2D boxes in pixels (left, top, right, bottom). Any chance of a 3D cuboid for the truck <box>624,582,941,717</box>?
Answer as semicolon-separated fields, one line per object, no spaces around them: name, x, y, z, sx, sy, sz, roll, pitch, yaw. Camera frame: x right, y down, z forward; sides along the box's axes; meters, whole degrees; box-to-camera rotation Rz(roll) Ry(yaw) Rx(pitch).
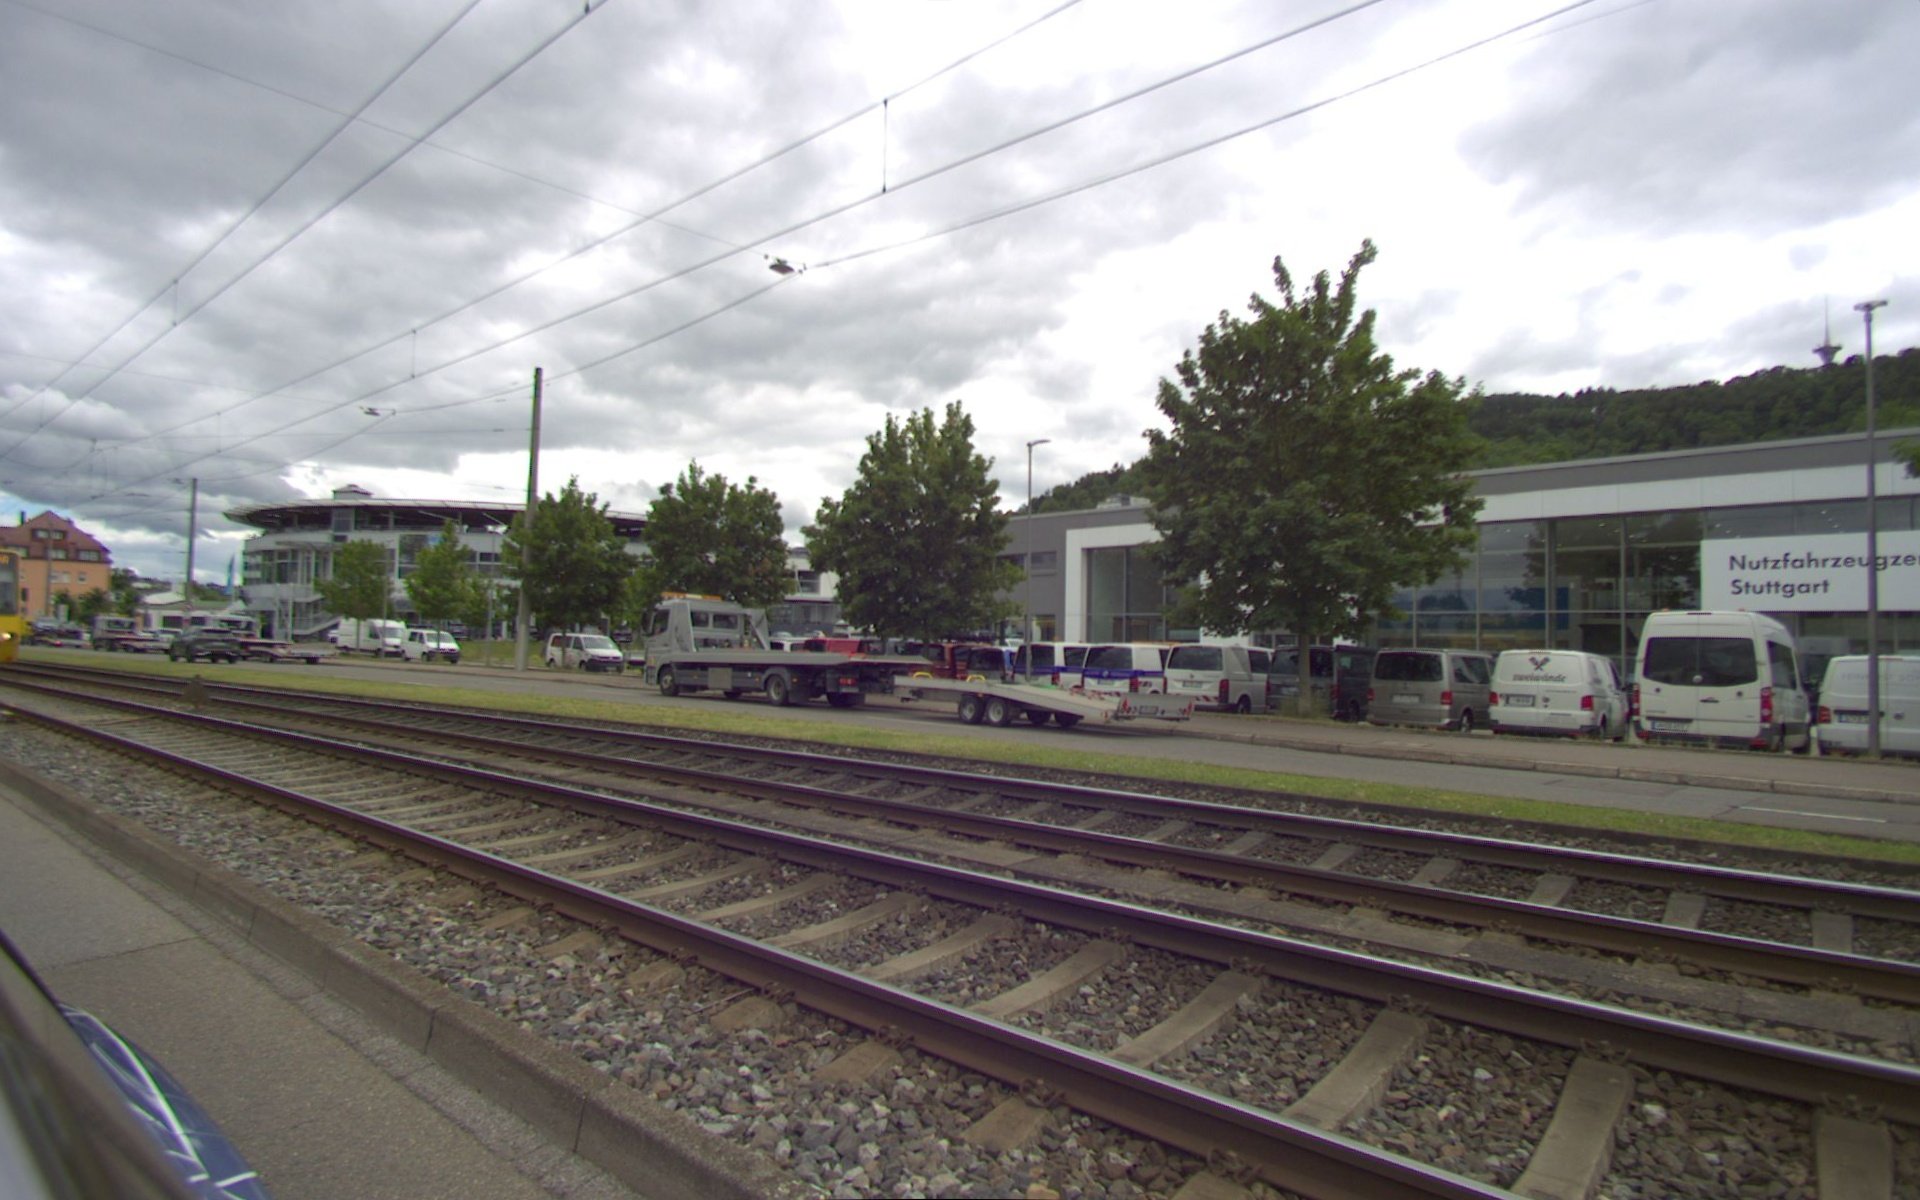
truck;-4.717;1.204;24.974;9.221;2.762;2.725;-2;-5;44

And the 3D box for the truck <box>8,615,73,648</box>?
truck;-84.055;2.936;92.450;9.058;2.881;3.019;-2;-3;40

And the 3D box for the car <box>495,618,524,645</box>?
car;-35.658;2.495;80.214;1.965;2.029;4.013;2;-3;-23

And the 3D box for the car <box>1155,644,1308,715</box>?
car;6.975;1.953;25.752;2.004;1.630;4.317;-2;-4;43

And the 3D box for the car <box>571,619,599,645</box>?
car;-31.409;2.679;84.686;1.965;2.029;4.013;2;-3;-24

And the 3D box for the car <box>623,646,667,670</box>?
car;-22.432;4.098;72.027;1.651;1.630;3.721;3;-3;-41

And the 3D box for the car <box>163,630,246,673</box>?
car;-34.676;2.356;46.424;4.531;1.752;1.973;0;-5;41

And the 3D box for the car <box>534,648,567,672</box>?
car;-29.234;4.243;72.174;1.648;1.630;3.726;2;-3;-31

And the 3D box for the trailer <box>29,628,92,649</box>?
trailer;-77.578;3.297;87.206;7.561;1.701;2.947;-2;-3;40

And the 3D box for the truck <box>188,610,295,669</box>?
truck;-40.551;2.240;57.002;8.449;3.004;2.834;-2;-6;41

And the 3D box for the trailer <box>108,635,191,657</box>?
trailer;-55.710;3.132;69.512;6.998;1.287;3.019;-1;-6;39

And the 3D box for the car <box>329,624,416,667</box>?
car;-37.096;2.838;63.832;5.837;2.580;1.980;-1;-3;29

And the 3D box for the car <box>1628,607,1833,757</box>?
car;13.780;1.387;18.015;4.442;2.329;2.127;3;-4;-43

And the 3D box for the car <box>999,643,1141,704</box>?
car;3.243;2.084;29.367;3.938;1.630;2.002;3;-3;-42

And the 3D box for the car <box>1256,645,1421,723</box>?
car;9.165;1.953;24.355;4.313;1.699;2.006;3;-3;-43

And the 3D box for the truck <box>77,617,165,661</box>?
truck;-61.899;2.896;74.567;8.950;2.944;3.077;-1;-5;39

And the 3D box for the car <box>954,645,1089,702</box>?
car;1.961;2.254;31.599;3.938;1.630;2.002;3;-3;-42

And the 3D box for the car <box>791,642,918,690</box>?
car;-3.782;2.349;36.506;4.127;1.630;2.065;3;-3;-42

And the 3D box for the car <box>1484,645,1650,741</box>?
car;12.425;1.803;20.599;2.031;1.701;4.317;-2;-4;43

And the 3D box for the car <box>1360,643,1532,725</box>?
car;10.919;1.802;22.612;4.313;1.630;2.006;3;-3;-43

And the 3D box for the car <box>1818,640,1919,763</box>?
car;16.024;1.634;16.925;4.313;1.859;2.006;3;-4;-43

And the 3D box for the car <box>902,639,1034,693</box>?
car;0.305;2.108;32.664;3.938;1.630;2.002;3;-3;-42

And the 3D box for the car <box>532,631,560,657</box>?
car;-33.564;3.540;81.946;1.965;2.029;4.013;2;-3;-24

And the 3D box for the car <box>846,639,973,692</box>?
car;-1.678;2.209;34.611;3.938;1.677;2.050;3;-3;-42

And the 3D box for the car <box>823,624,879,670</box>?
car;-6.788;2.894;62.478;1.965;2.726;4.876;2;-3;-24

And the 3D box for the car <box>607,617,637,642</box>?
car;-27.924;2.437;83.516;1.965;2.029;4.013;2;-3;-24

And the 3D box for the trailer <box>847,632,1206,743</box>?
trailer;1.003;1.550;19.311;6.950;1.711;2.355;-1;-5;44

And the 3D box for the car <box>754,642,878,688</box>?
car;-5.507;2.478;39.044;4.292;1.630;2.122;3;-3;-42

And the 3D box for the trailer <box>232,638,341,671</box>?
trailer;-34.579;2.775;51.884;7.220;1.507;2.729;-2;-6;41

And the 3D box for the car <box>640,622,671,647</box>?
car;-25.656;2.905;85.263;1.965;2.029;4.013;2;-3;-24

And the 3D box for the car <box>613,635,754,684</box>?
car;-12.160;2.627;44.568;5.615;2.023;2.151;3;-3;-26

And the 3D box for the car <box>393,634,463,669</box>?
car;-31.753;3.044;60.321;4.803;2.029;1.973;-2;-3;40

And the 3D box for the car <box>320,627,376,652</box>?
car;-51.198;3.323;84.777;1.976;2.029;3.992;0;-3;6

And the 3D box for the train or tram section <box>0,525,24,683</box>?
train or tram section;-31.698;0.163;30.544;16.937;4.038;3.352;-1;-1;41

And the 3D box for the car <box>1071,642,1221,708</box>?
car;5.057;1.969;27.249;3.938;1.630;2.002;3;-3;-42

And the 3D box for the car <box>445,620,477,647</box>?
car;-38.993;2.602;79.171;1.965;2.029;4.013;2;-3;-23

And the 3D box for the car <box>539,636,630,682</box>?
car;-17.922;2.785;48.182;4.859;2.029;1.972;-1;-3;42
